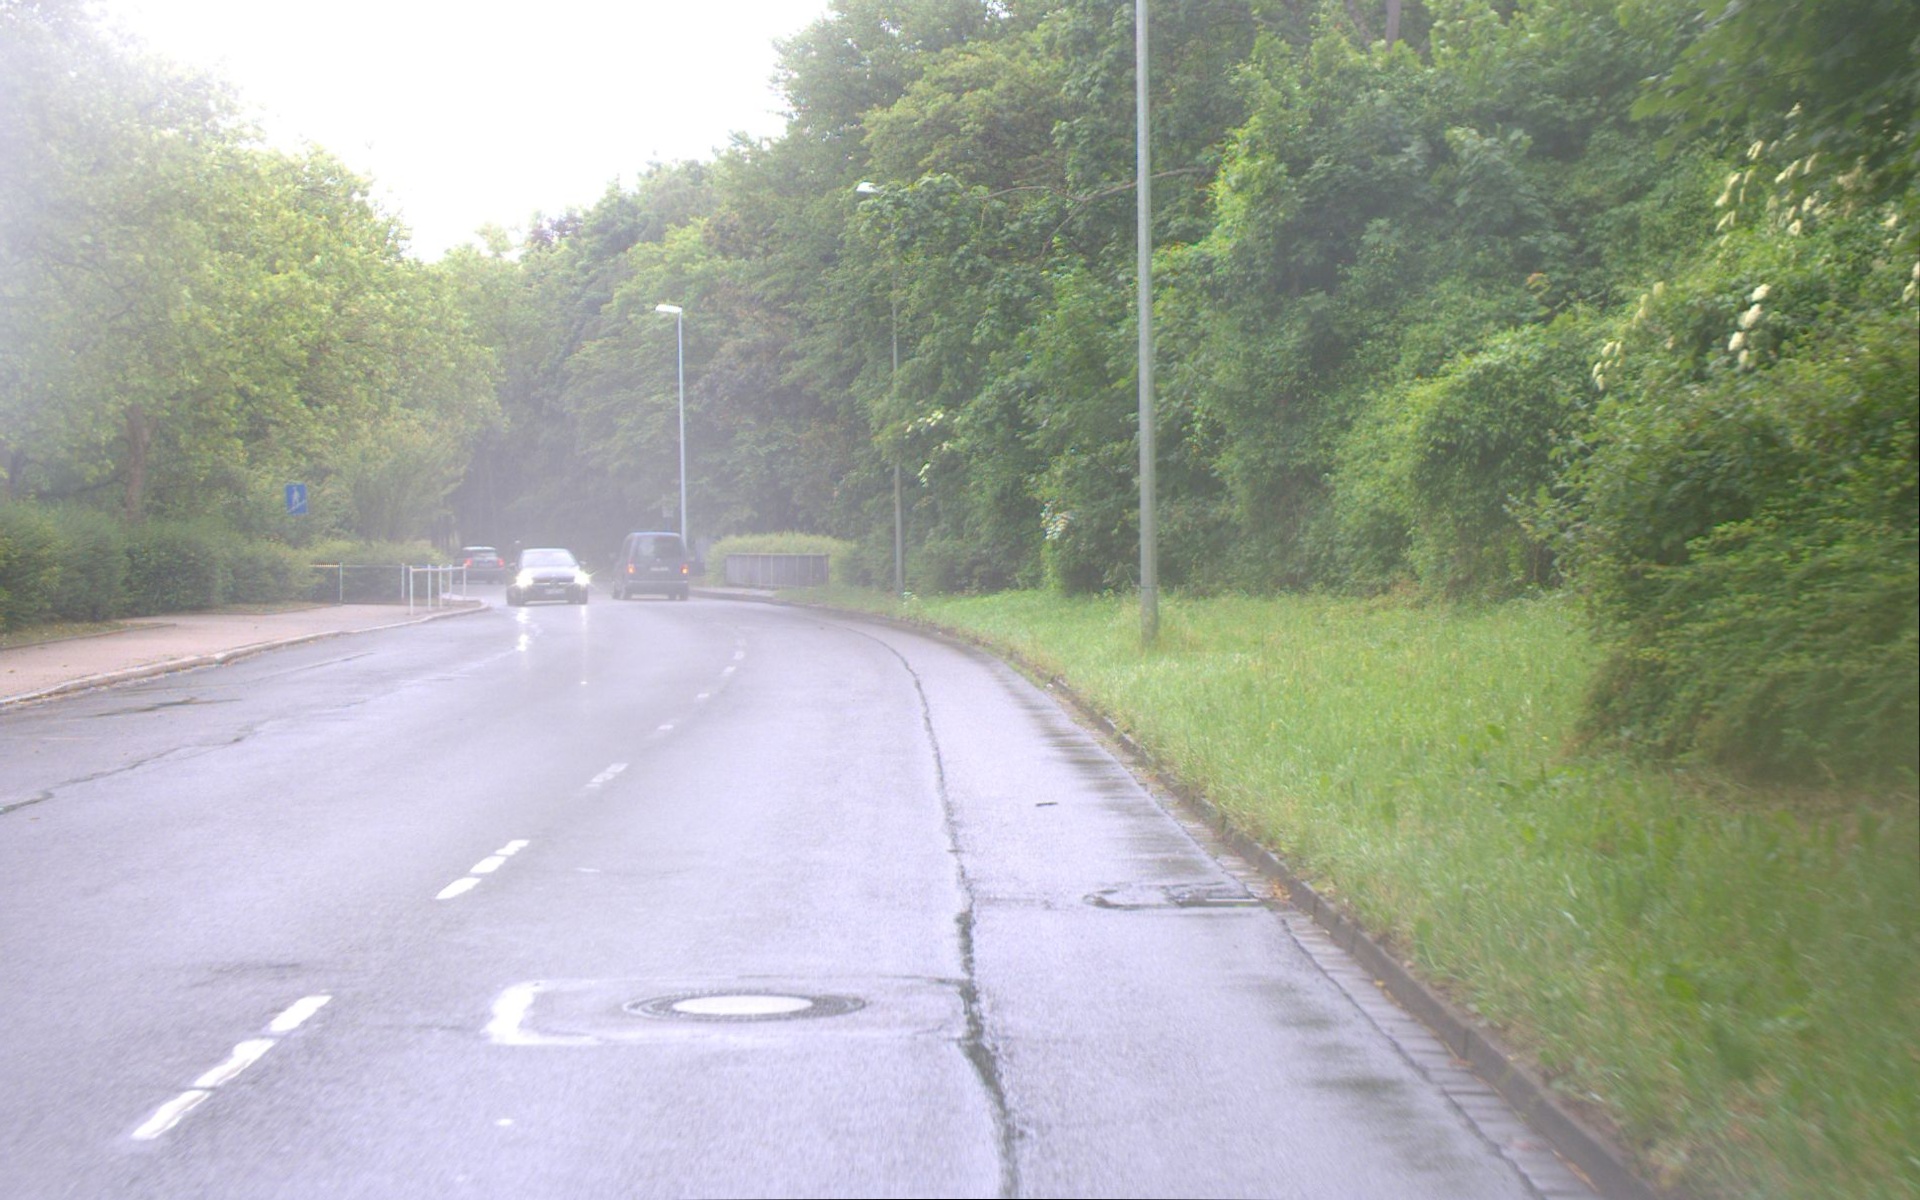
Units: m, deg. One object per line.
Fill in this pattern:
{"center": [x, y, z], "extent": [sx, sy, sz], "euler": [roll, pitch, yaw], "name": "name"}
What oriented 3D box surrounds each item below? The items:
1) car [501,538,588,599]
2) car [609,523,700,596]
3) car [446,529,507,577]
{"center": [-10.519, -0.803, 86.848], "extent": [1.826, 1.460, 4.001], "euler": [-2, 1, -11], "name": "car"}
{"center": [-8.293, -1.116, 93.143], "extent": [1.985, 1.919, 4.001], "euler": [0, 1, -12], "name": "car"}
{"center": [-18.868, -1.815, 134.142], "extent": [1.993, 1.809, 4.001], "euler": [1, 0, -13], "name": "car"}
